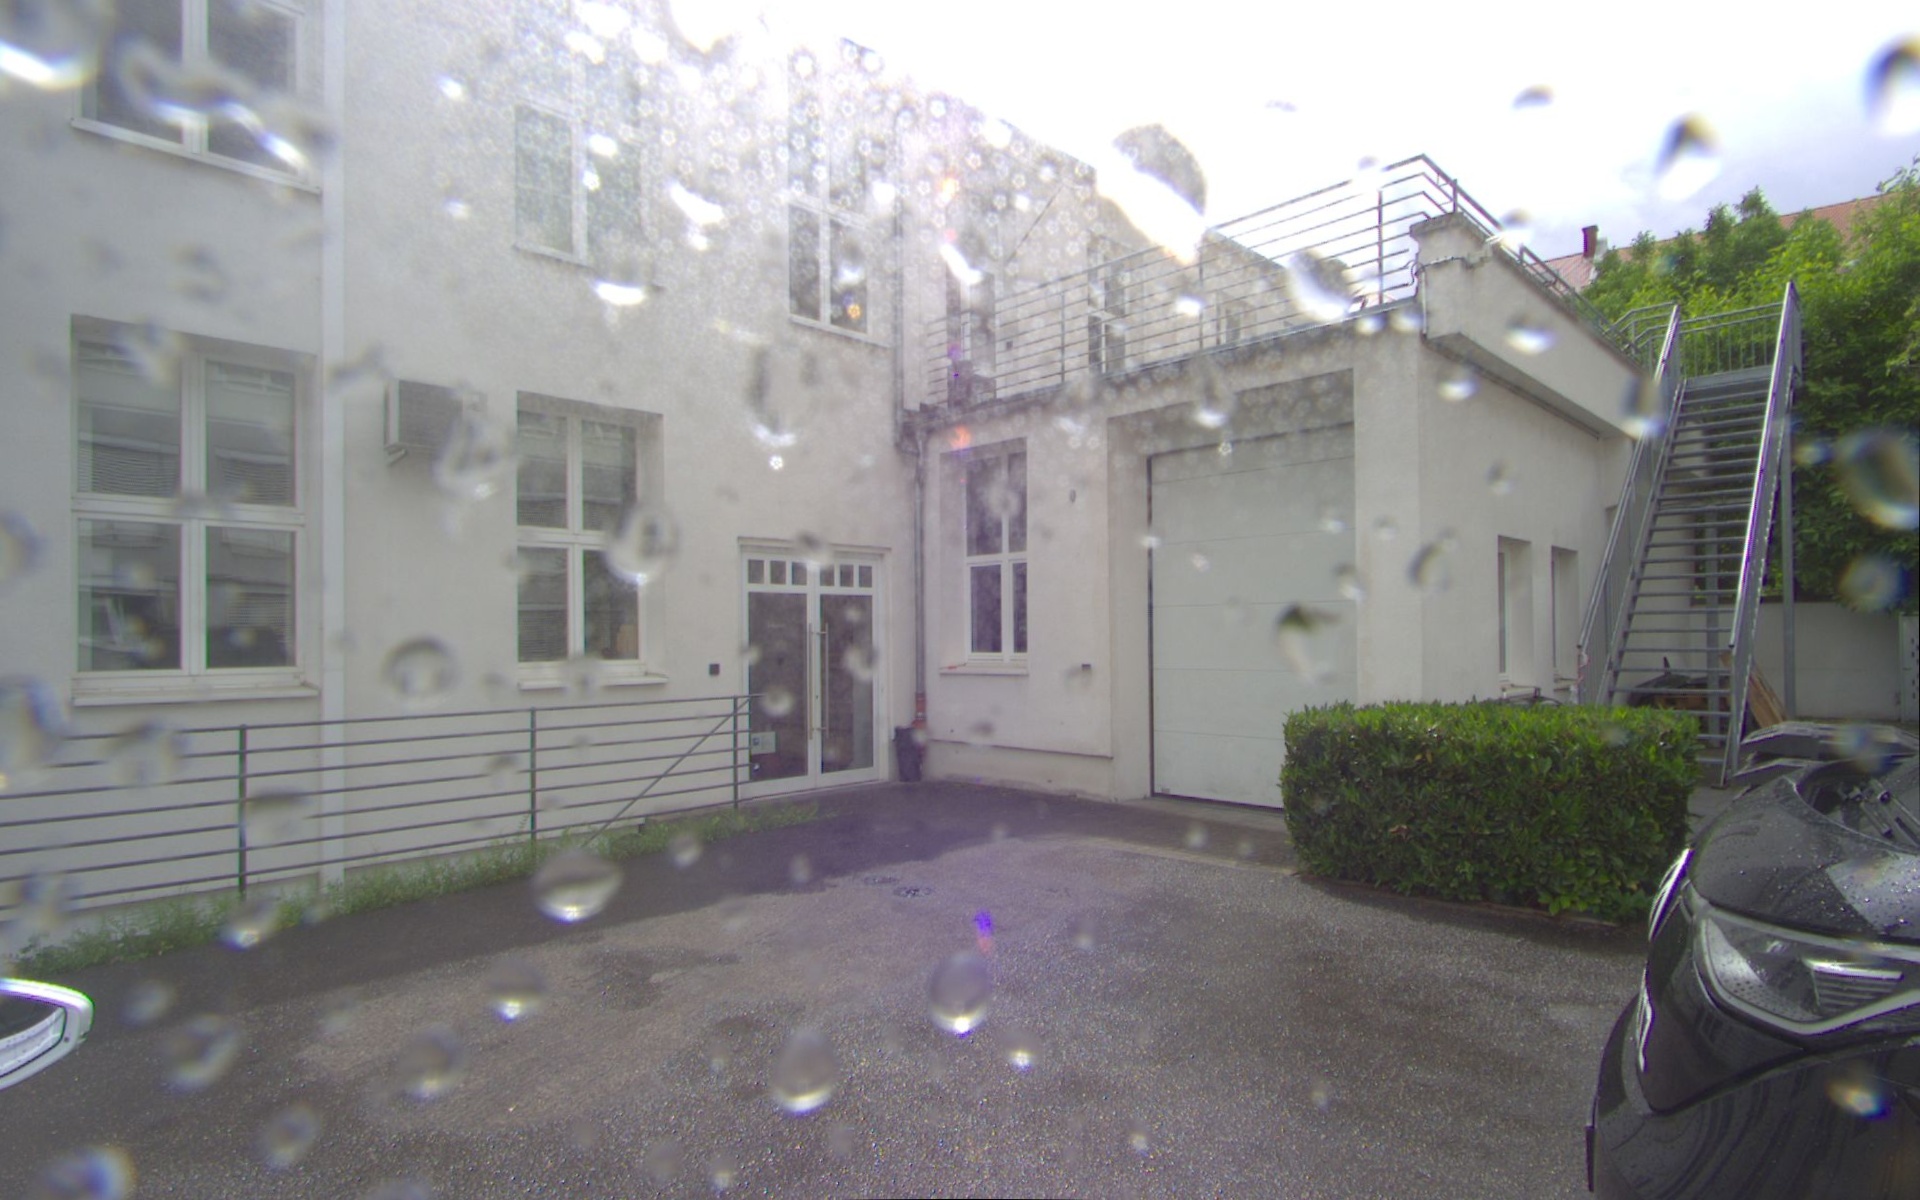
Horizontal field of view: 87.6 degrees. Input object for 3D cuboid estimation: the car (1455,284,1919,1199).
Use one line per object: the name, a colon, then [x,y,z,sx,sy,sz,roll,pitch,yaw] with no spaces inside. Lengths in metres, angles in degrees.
car: [3.114,0.548,0.645,4.691,1.888,1.957,-3,-3,38]
